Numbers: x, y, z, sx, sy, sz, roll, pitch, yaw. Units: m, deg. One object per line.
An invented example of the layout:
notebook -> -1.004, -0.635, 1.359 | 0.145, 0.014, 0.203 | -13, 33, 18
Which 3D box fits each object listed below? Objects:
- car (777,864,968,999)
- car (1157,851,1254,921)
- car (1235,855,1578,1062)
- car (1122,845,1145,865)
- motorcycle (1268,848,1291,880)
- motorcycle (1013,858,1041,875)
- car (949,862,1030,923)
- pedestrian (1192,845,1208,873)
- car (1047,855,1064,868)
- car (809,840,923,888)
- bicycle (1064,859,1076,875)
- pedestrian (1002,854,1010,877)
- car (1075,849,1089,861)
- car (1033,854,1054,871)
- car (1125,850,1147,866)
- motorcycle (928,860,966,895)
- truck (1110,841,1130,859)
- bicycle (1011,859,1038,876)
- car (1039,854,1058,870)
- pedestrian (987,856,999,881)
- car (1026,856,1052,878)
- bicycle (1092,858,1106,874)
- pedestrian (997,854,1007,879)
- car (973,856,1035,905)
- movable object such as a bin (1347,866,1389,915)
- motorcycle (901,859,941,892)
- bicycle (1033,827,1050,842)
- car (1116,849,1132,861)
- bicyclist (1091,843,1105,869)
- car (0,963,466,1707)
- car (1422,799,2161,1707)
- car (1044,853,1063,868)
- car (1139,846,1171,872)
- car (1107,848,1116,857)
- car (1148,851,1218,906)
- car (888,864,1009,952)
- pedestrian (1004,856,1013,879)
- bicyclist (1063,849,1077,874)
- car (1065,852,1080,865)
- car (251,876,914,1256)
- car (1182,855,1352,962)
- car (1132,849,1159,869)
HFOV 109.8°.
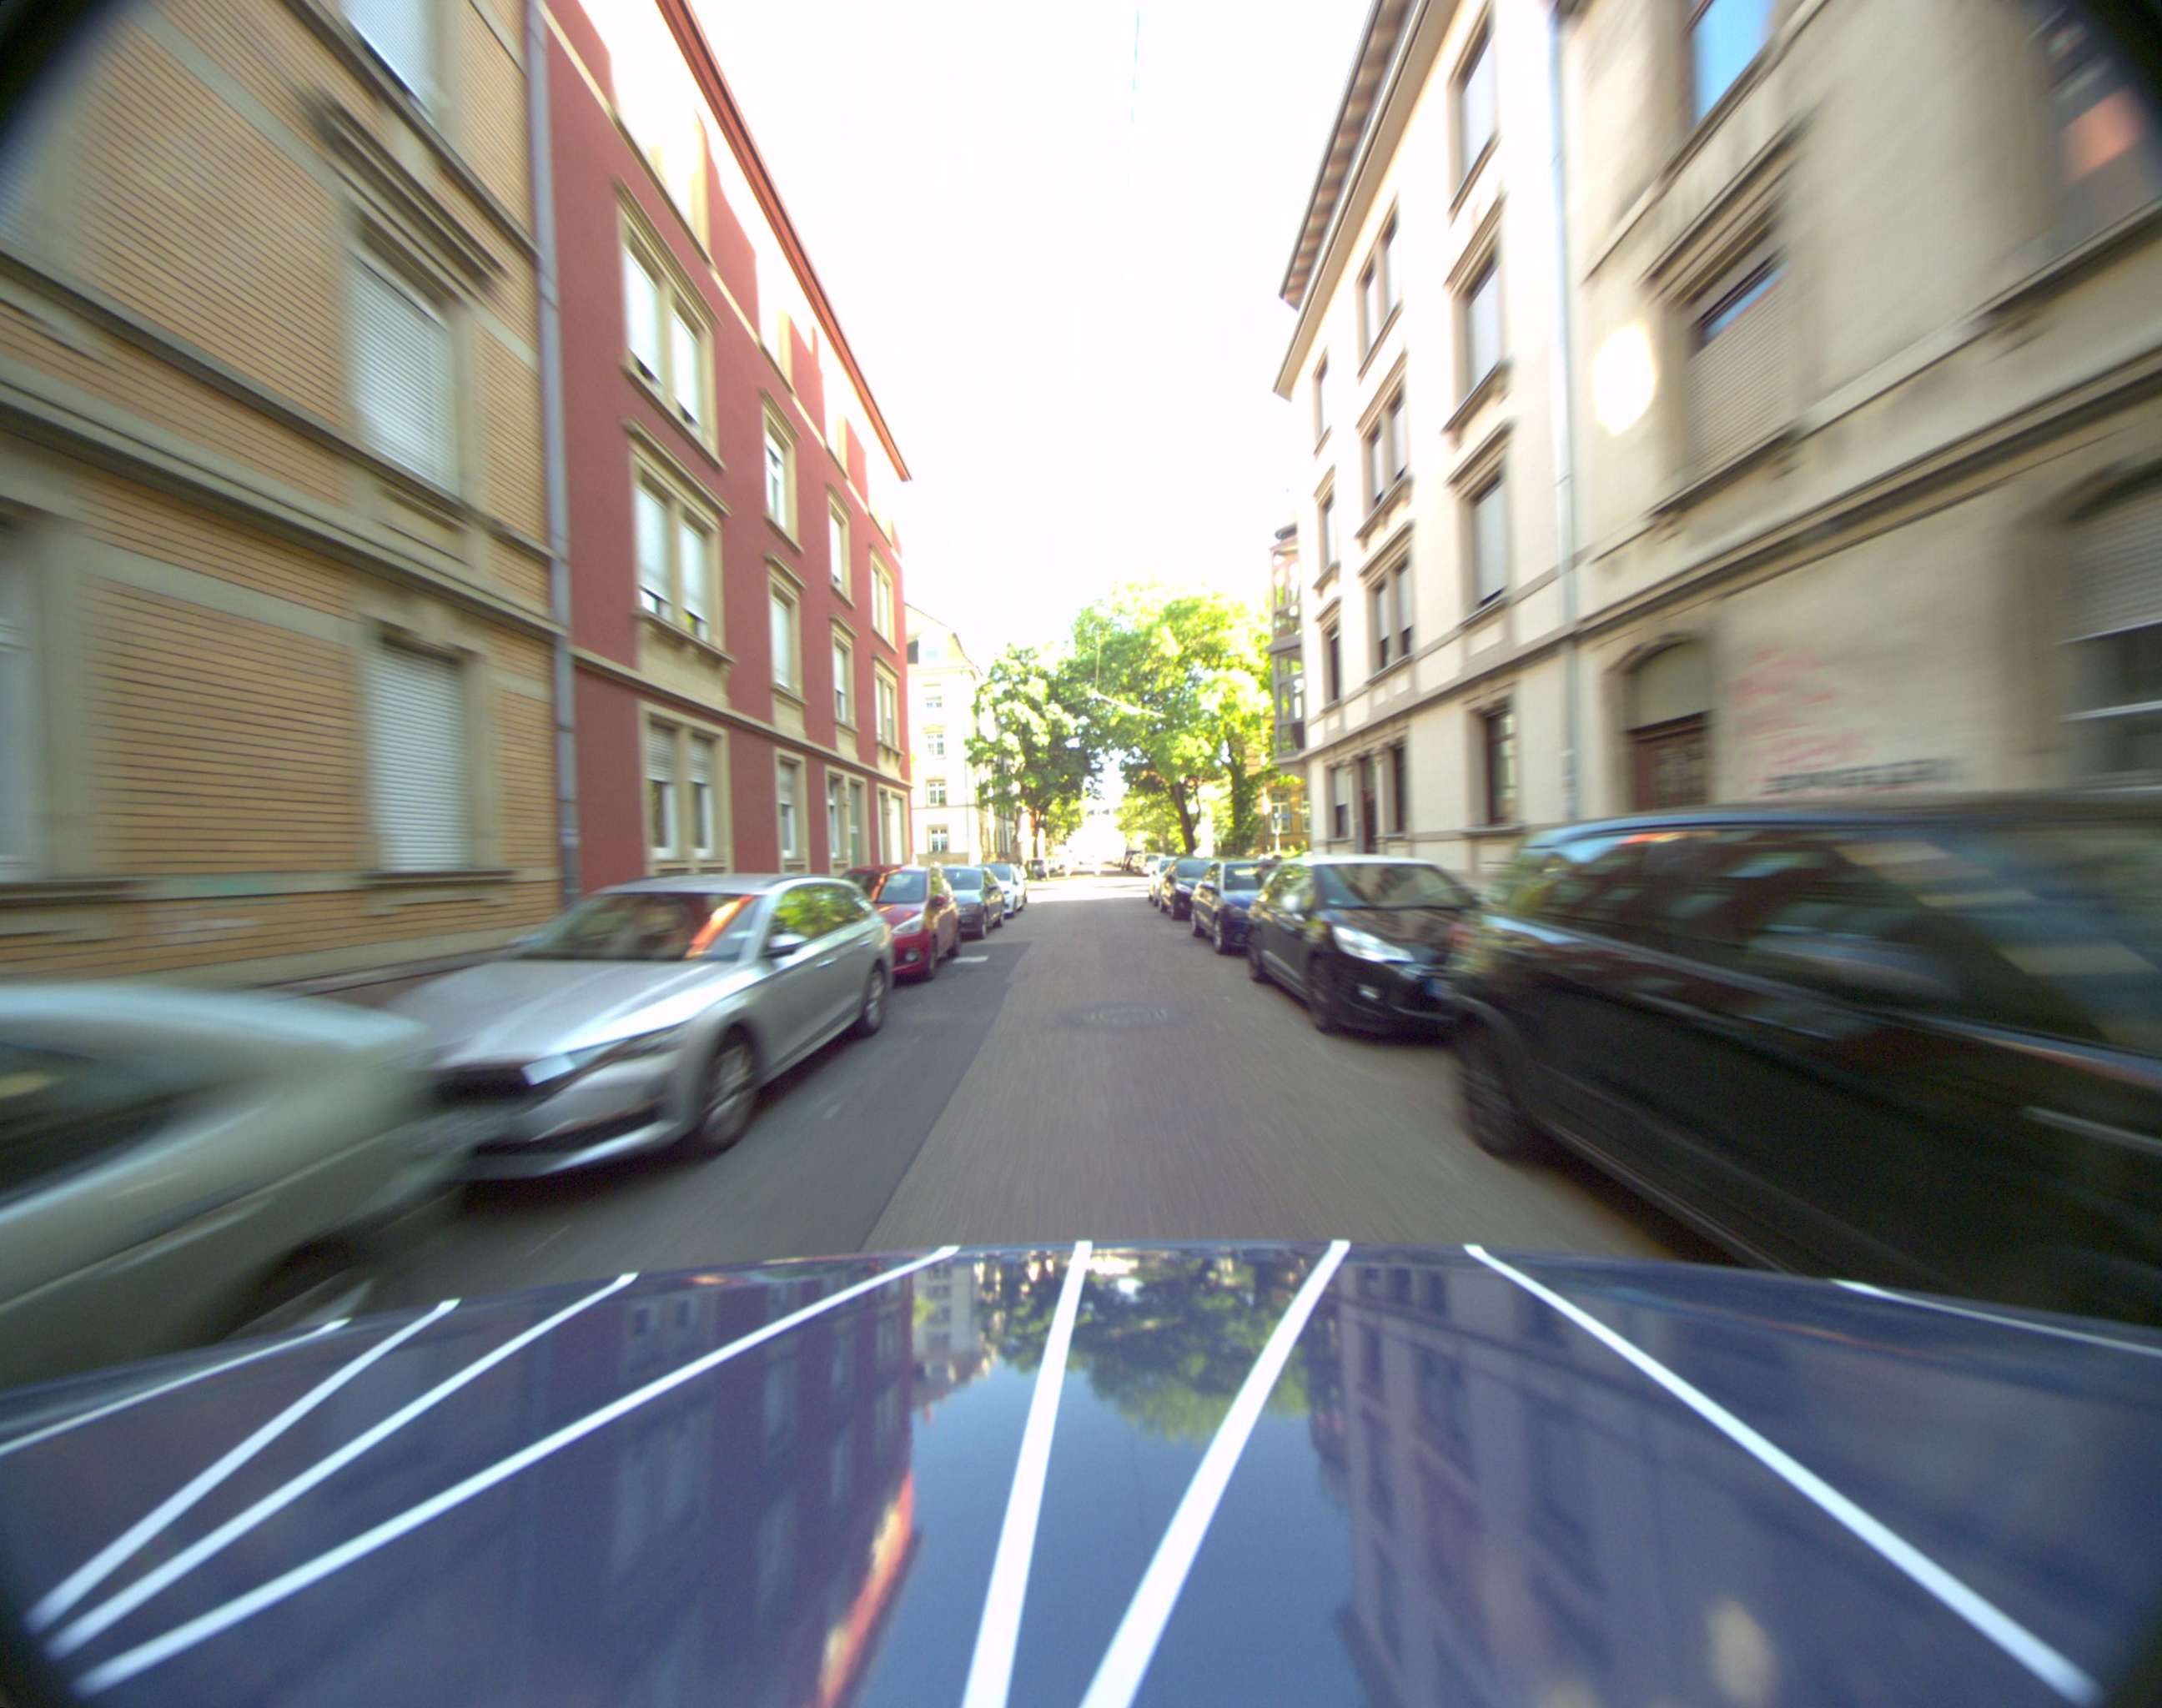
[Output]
car -> -2.748, 0.943, 10.952 | 1.663, 1.471, 4.024 | -2, 0, -1
car -> 2.893, 0.688, 18.428 | 1.785, 1.474, 3.742 | -2, 0, 2
car -> 2.703, 0.749, 7.324 | 1.647, 1.447, 3.839 | 0, 0, 0
car -> 5.207, 0.096, 75.759 | 1.998, 1.946, 5.042 | 0, 0, 1
motorcycle -> 7.836, 0.374, 29.945 | 0.612, 1.190, 2.046 | -2, 2, 20
motorcycle -> -3.710, 0.868, 52.303 | 1.855, 1.205, 0.678 | 0, -1, -2
car -> -2.493, 1.023, 21.592 | 1.709, 1.454, 3.970 | -2, 0, 1
pedestrian -> 7.523, 0.297, 48.080 | 0.804, 1.736, 1.006 | -2, 1, 1
car -> -2.994, 0.890, 89.819 | 1.812, 1.412, 4.000 | -2, 0, 1
car -> -12.098, 0.553, 42.853 | 5.656, 2.453, 2.307 | -2, 1, 10
bicycle -> -0.813, 0.937, 56.519 | 0.810, 1.136, 2.547 | -2, 0, 1
pedestrian -> -6.009, 0.906, 60.984 | 0.529, 1.834, 0.707 | -2, 1, 2
car -> 0.250, 0.148, 125.295 | 2.146, 2.002, 4.863 | -2, 0, 1
car -> -3.475, 0.759, 70.616 | 1.639, 1.523, 4.000 | -2, 0, 1
car -> 5.073, 0.346, 70.279 | 1.731, 1.455, 3.844 | -1, 0, 1
motorcycle -> -6.103, 1.034, 34.763 | 0.873, 1.516, 2.625 | -1, 0, 9
truck -> 5.840, -0.611, 114.364 | 2.395, 2.641, 7.092 | -2, 1, -1
bicycle -> -3.822, 0.932, 51.436 | 1.795, 1.155, 0.433 | 0, 1, 17
car -> -3.246, 0.770, 76.389 | 1.651, 1.433, 4.000 | -2, 0, 1
pedestrian -> -5.954, 0.974, 51.539 | 0.624, 1.675, 0.818 | -2, 1, 0
car -> -3.065, 0.903, 56.441 | 1.685, 1.531, 4.134 | -1, 0, 0
bicycle -> 1.303, 0.866, 56.820 | 0.985, 1.136, 2.547 | -2, 0, 1
pedestrian -> -5.336, 0.850, 51.336 | 0.520, 1.708, 0.516 | -2, 1, -1
car -> -2.572, 0.837, 26.111 | 1.672, 1.474, 3.706 | -2, 0, 0
movable object such as a bin -> 5.856, 0.737, 15.503 | 0.623, 0.950, 0.511 | -3, 1, 1
motorcycle -> -7.318, 0.948, 34.890 | 0.870, 1.396, 2.544 | -1, 1, 9
bicycle -> -3.436, -1.692, 66.724 | 1.414, 1.188, 0.336 | -4, 1, -2
car -> 5.466, 0.093, 96.589 | 1.755, 1.464, 4.000 | -3, 0, 1
bicyclist -> 1.266, 0.149, 56.739 | 0.967, 1.904, 1.139 | -2, 1, 1
car -> -2.885, 1.077, 0.435 | 1.696, 1.398, 3.992 | -2, 0, 2
car -> 2.725, 0.676, 2.075 | 1.765, 1.608, 4.189 | -2, 0, 2
car -> -3.084, 0.732, 85.428 | 1.824, 1.521, 4.000 | -2, 0, 1
car -> 4.841, 0.294, 49.922 | 1.710, 1.549, 3.952 | 1, 1, 0
car -> 5.966, -0.285, 150.370 | 1.597, 1.557, 3.999 | -2, 1, 0
car -> 3.072, 0.697, 23.578 | 1.785, 1.474, 3.933 | -2, 0, 3
car -> -2.628, 1.023, 16.024 | 1.681, 1.494, 4.069 | -2, 0, 1
pedestrian -> -5.916, 1.073, 62.004 | 0.706, 1.834, 0.840 | -2, 1, -5
bicyclist -> -0.836, 0.555, 56.443 | 0.934, 1.809, 1.078 | -2, 1, 1
car -> -1.024, 0.558, 94.888 | 1.654, 1.449, 4.000 | -2, 0, 1
car -> -2.663, 0.995, 5.511 | 1.766, 1.475, 4.401 | -2, 0, 2
car -> 2.811, 0.754, 12.330 | 1.786, 1.395, 3.742 | -2, 0, 0
car -> 5.051, 0.374, 60.084 | 1.793, 1.524, 4.000 | 1, 0, 0
